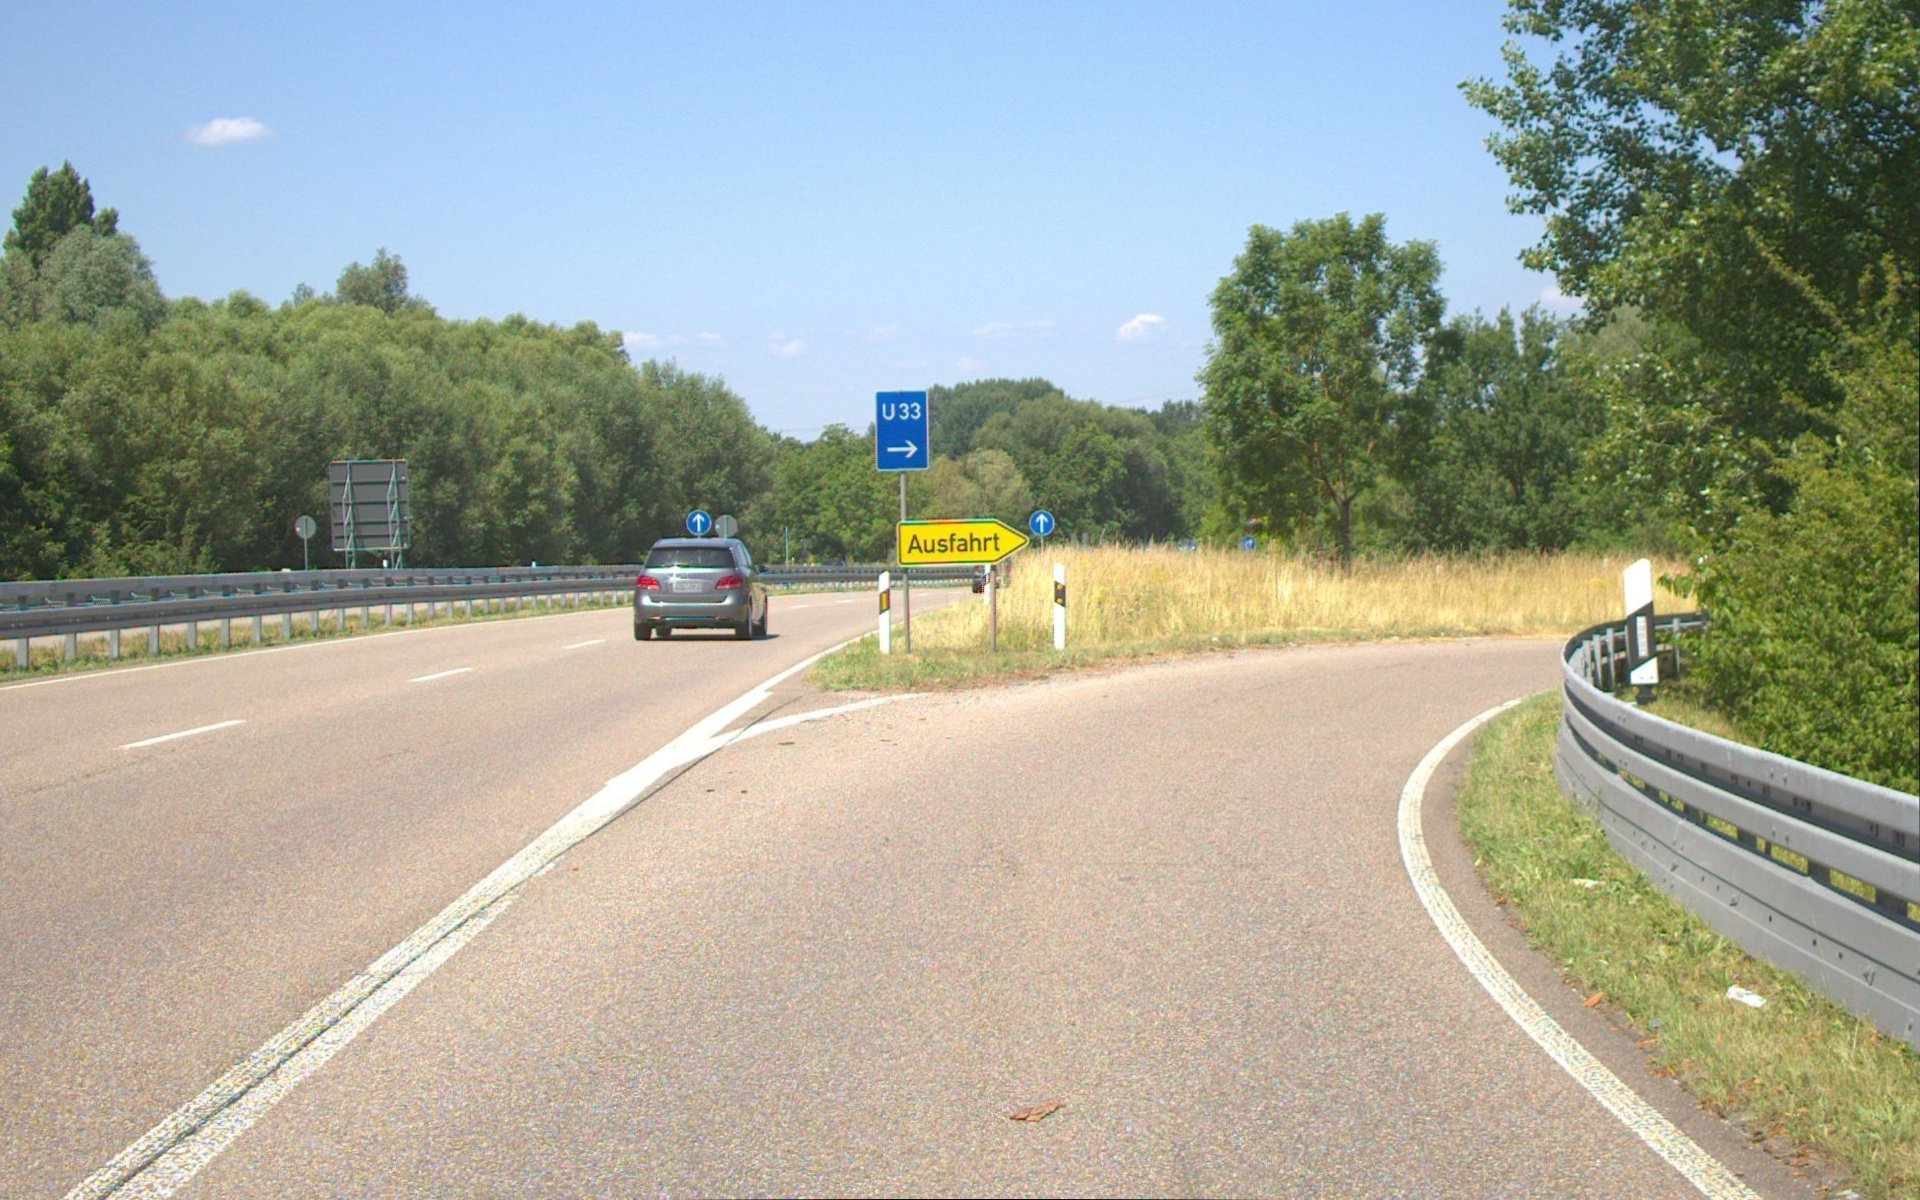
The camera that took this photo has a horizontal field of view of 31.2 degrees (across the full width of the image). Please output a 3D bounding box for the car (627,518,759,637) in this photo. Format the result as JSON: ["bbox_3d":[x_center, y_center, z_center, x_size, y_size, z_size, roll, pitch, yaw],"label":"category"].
[{"bbox_3d":[-4.135,-0.392,53.756,1.793,1.662,4.555,2,2,-2],"label":"car"}]

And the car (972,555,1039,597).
[{"bbox_3d":[1.788,-0.956,133.418,1.842,1.524,4.468,1,2,10],"label":"car"}]
